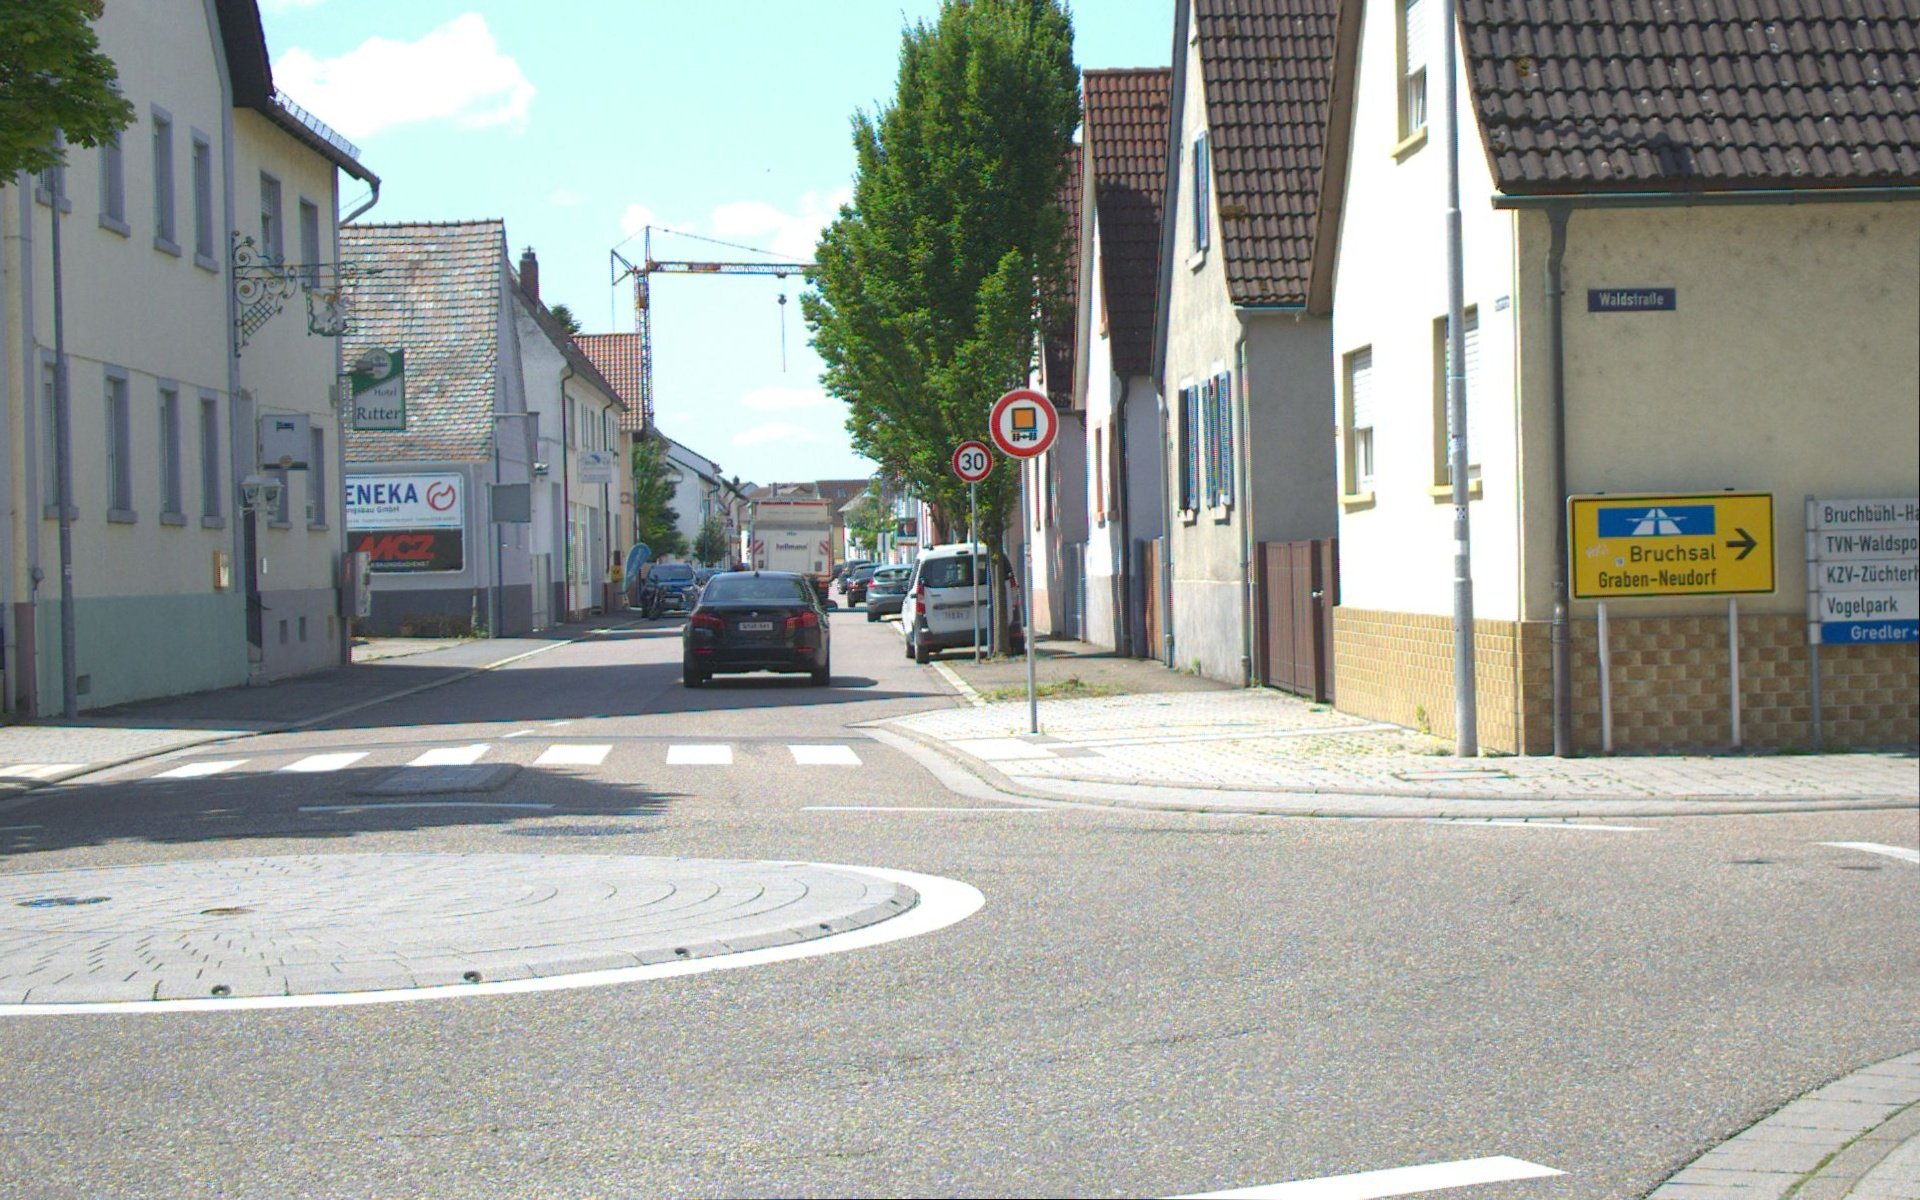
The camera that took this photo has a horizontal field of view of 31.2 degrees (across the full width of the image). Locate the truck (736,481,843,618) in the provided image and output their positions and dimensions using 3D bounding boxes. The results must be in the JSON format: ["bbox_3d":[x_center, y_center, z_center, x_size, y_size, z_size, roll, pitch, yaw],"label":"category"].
[{"bbox_3d":[-5.453,-1.598,111.603,3.144,4.236,9.302,1,0,-1],"label":"truck"}]

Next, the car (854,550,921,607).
[{"bbox_3d":[-1.902,-0.588,91.223,1.719,1.456,4.157,-1,1,-1],"label":"car"}]

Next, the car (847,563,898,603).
[{"bbox_3d":[-3.075,-0.609,119.821,1.719,1.350,4.157,-1,1,-2],"label":"car"}]

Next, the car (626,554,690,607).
[{"bbox_3d":[-9.262,-0.612,105.501,1.809,1.583,4.001,-1,1,-3],"label":"car"}]

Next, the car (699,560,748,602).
[{"bbox_3d":[-8.985,-0.734,130.752,1.809,1.583,4.001,-1,1,-3],"label":"car"}]

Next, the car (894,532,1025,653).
[{"bbox_3d":[-0.049,-0.142,54.704,1.719,1.784,4.144,-3,1,-4],"label":"car"}]

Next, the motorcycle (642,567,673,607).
[{"bbox_3d":[-8.942,-0.382,101.589,0.846,1.166,2.469,1,0,-4],"label":"motorcycle"}]

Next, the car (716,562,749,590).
[{"bbox_3d":[-13.237,-1.409,200.373,1.809,1.583,4.001,-1,1,-3],"label":"car"}]

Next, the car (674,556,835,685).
[{"bbox_3d":[-2.611,0.220,44.589,1.902,1.558,4.477,-1,1,-1],"label":"car"}]
